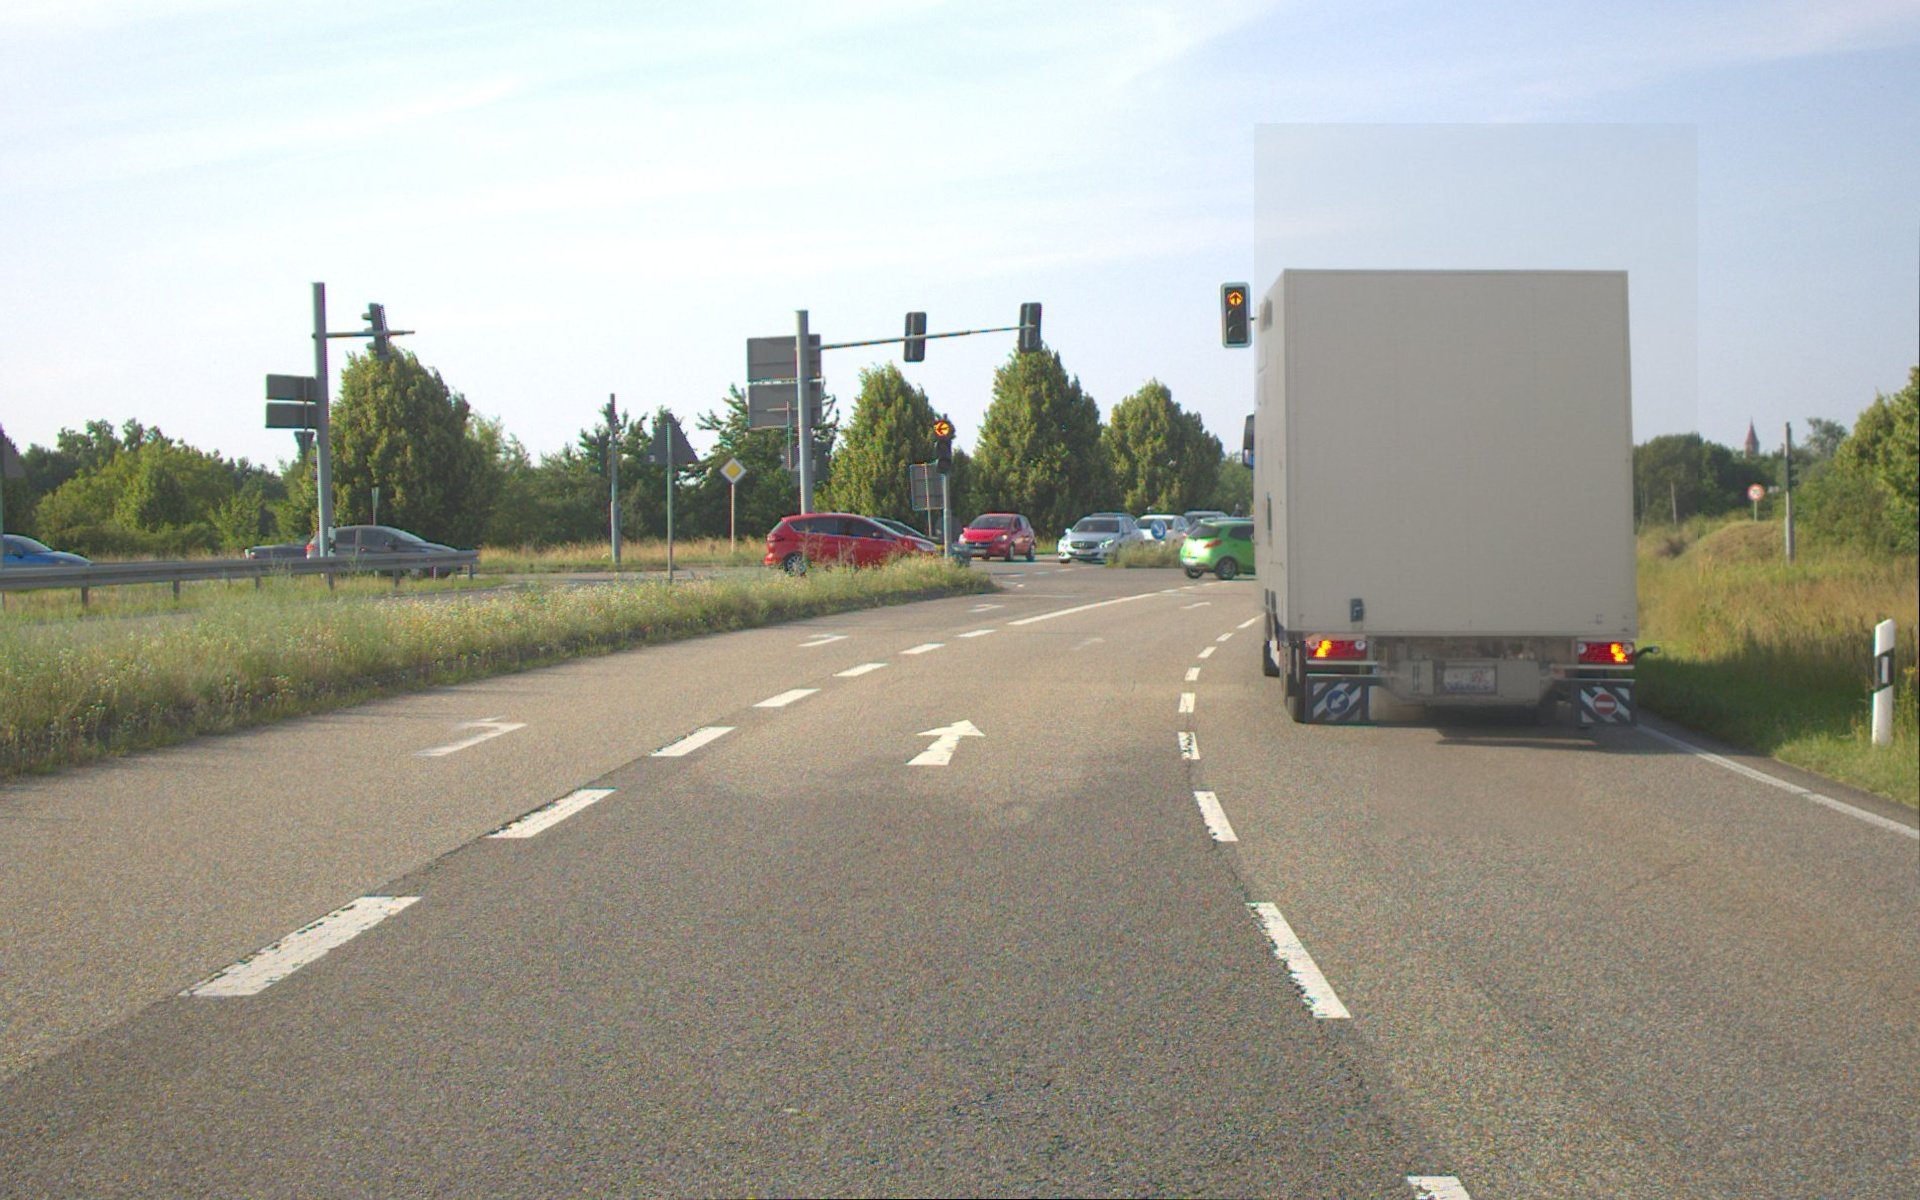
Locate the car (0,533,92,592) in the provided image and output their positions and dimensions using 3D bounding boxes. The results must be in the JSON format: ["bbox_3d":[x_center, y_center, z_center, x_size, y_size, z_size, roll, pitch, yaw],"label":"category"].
[{"bbox_3d":[-24.878,-0.989,89.664,3.974,1.487,1.777,1,1,14],"label":"car"}]

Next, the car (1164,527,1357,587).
[{"bbox_3d":[7.562,-1.073,86.623,4.420,1.412,1.921,1,0,-16],"label":"car"}]

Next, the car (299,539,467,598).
[{"bbox_3d":[-14.625,-0.796,87.203,3.784,1.411,1.920,1,0,9],"label":"car"}]

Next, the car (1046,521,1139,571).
[{"bbox_3d":[4.104,-1.663,105.484,1.787,1.483,4.648,0,1,16],"label":"car"}]

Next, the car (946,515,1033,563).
[{"bbox_3d":[0.953,-1.924,108.229,1.722,1.483,3.801,0,1,17],"label":"car"}]

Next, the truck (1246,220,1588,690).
[{"bbox_3d":[4.781,-1.503,37.090,3.300,4.641,5.731,1,1,5],"label":"truck"}]

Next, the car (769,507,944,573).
[{"bbox_3d":[-2.563,-1.489,85.448,4.264,1.559,1.901,1,0,-1],"label":"car"}]

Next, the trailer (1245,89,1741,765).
[{"bbox_3d":[4.232,-1.368,30.454,3.282,4.665,13.146,1,1,4],"label":"trailer"}]
